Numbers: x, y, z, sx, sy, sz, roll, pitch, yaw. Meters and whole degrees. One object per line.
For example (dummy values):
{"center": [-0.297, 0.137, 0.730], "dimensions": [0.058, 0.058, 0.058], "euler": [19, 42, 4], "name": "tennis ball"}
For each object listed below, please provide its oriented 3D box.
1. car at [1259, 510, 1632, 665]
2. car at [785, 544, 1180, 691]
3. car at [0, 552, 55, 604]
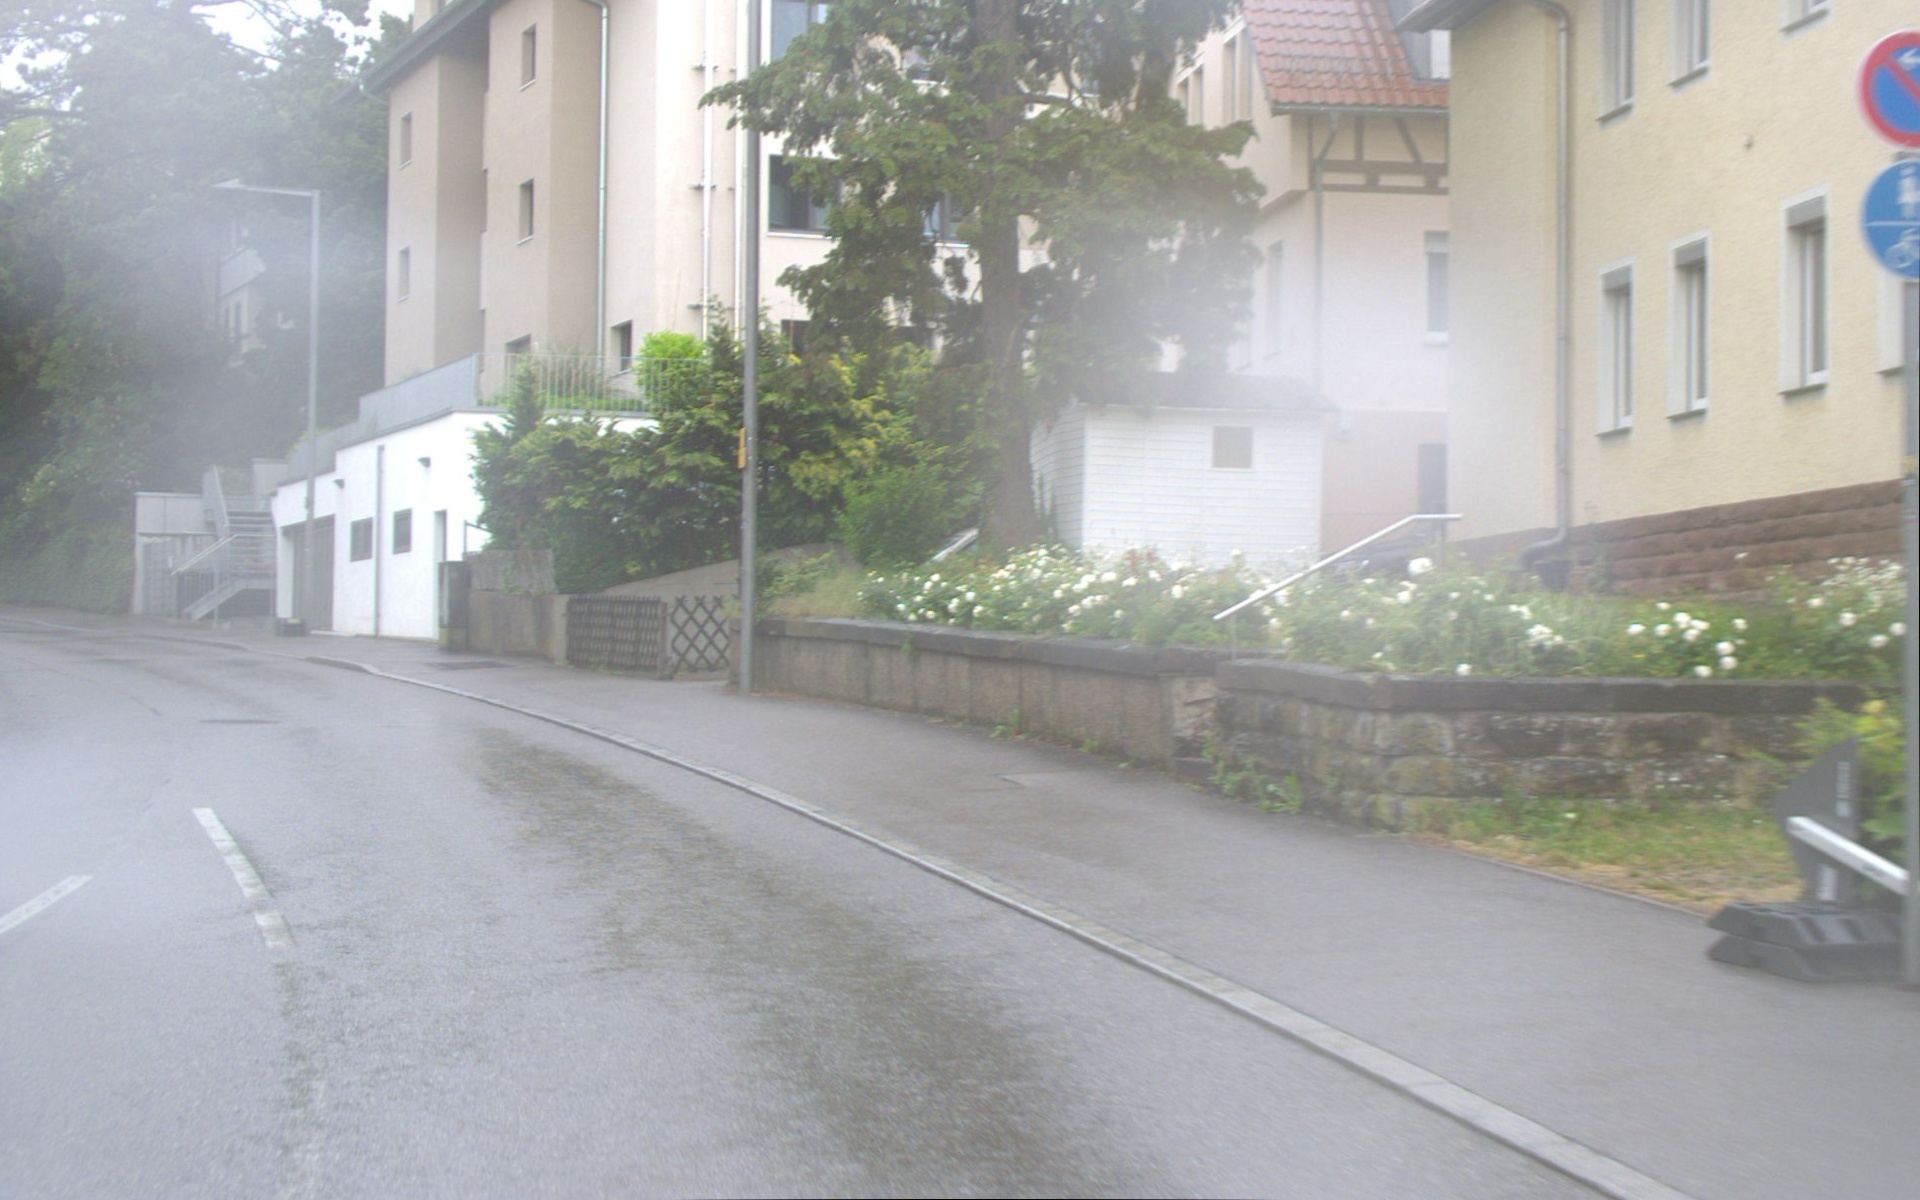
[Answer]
{"center": [5.664, -0.162, 40.331], "dimensions": [3.852, 1.647, 1.964], "euler": [-2, 1, -11], "name": "car"}
{"center": [0.218, 0.191, 39.529], "dimensions": [4.316, 1.647, 1.964], "euler": [0, 0, -7], "name": "car"}
{"center": [-28.775, -0.644, 100.549], "dimensions": [4.143, 1.471, 1.905], "euler": [-1, 2, -29], "name": "car"}
